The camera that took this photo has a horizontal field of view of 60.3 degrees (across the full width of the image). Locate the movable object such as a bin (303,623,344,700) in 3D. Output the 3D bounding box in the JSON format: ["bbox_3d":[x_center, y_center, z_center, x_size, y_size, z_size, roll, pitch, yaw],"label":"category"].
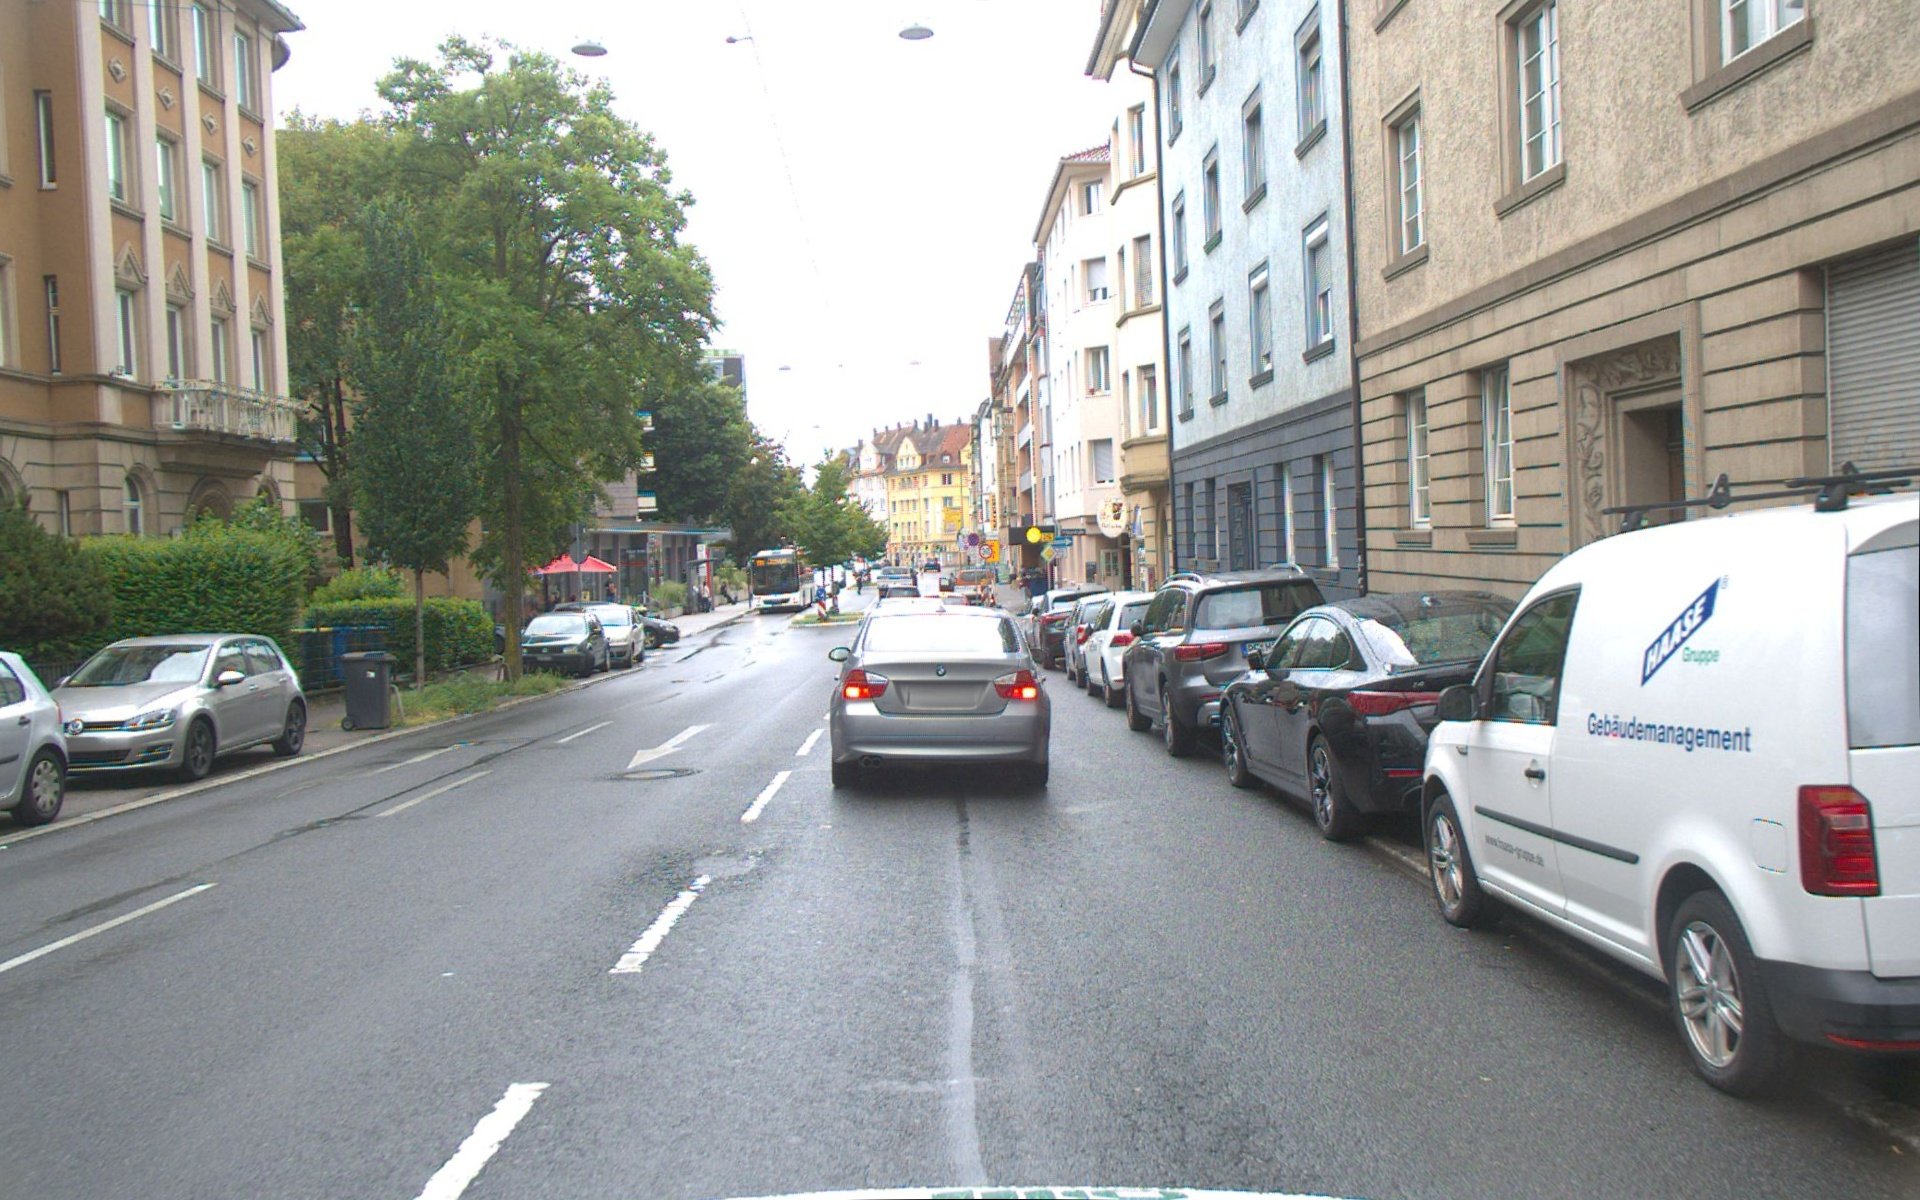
[{"bbox_3d":[-11.284,1.083,29.334,0.430,1.331,0.650,-2,0,-2],"label":"movable object such as a bin"}]

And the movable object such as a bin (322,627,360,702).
[{"bbox_3d":[-11.303,1.168,30.204,0.430,1.331,0.609,-2,0,-2],"label":"movable object such as a bin"}]

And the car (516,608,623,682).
[{"bbox_3d":[-8.753,0.962,37.378,1.621,1.479,3.940,-2,0,-3],"label":"car"}]

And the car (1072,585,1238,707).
[{"bbox_3d":[2.695,0.587,23.684,1.695,1.454,3.972,-5,1,-2],"label":"car"}]

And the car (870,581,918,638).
[{"bbox_3d":[-2.493,0.374,61.985,1.671,2.049,3.997,1,-1,-4],"label":"car"}]

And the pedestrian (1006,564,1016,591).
[{"bbox_3d":[3.284,-1.465,107.112,0.602,1.690,0.755,1,-1,5],"label":"pedestrian"}]

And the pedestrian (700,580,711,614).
[{"bbox_3d":[-13.087,-0.148,85.065,0.532,1.739,0.465,1,-1,-8],"label":"pedestrian"}]

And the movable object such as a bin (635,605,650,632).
[{"bbox_3d":[-12.867,0.747,67.014,0.480,1.100,0.606,-3,-1,-1],"label":"movable object such as a bin"}]

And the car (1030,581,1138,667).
[{"bbox_3d":[2.525,0.459,34.646,1.781,1.584,4.292,-4,0,-1],"label":"car"}]

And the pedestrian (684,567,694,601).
[{"bbox_3d":[-14.512,-0.840,88.536,0.533,1.821,0.507,1,-1,-10],"label":"pedestrian"}]

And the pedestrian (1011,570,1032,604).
[{"bbox_3d":[3.075,-0.627,82.653,0.741,1.690,0.748,1,-1,-28],"label":"pedestrian"}]

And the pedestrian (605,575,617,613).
[{"bbox_3d":[-16.619,-0.286,78.697,0.455,1.821,0.544,1,-1,-2],"label":"pedestrian"}]

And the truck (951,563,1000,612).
[{"bbox_3d":[0.726,-0.578,77.891,2.170,2.154,4.652,2,0,1],"label":"truck"}]

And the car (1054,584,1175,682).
[{"bbox_3d":[2.596,0.517,28.435,1.551,1.454,3.594,-5,1,-2],"label":"car"}]

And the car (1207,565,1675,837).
[{"bbox_3d":[3.113,0.572,11.737,1.804,1.433,4.386,-4,0,-2],"label":"car"}]

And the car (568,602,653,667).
[{"bbox_3d":[-8.762,0.827,41.694,1.600,1.479,3.835,-2,0,-5],"label":"car"}]

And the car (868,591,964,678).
[{"bbox_3d":[-0.832,0.601,29.456,1.570,1.445,3.285,1,-1,-4],"label":"car"}]

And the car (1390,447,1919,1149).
[{"bbox_3d":[3.182,0.461,6.453,1.754,1.849,4.079,-4,0,-2],"label":"car"}]

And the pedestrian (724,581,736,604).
[{"bbox_3d":[-14.010,-0.458,100.859,0.607,1.402,0.544,1,-1,0],"label":"pedestrian"}]

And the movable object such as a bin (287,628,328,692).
[{"bbox_3d":[-11.263,1.030,28.545,0.430,1.057,0.650,-2,0,-2],"label":"movable object such as a bin"}]

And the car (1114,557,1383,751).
[{"bbox_3d":[2.806,0.492,17.037,1.804,1.649,4.206,-3,0,-2],"label":"car"}]

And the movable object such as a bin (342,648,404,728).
[{"bbox_3d":[-8.242,1.230,23.241,0.617,1.076,0.600,-2,-1,-1],"label":"movable object such as a bin"}]

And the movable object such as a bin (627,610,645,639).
[{"bbox_3d":[-12.736,0.962,64.991,0.542,1.100,0.731,-3,-1,-1],"label":"movable object such as a bin"}]

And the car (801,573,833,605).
[{"bbox_3d":[-9.666,-0.735,111.852,1.953,2.049,3.998,1,-1,-2],"label":"car"}]

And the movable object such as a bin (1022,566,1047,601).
[{"bbox_3d":[3.829,-0.839,85.048,1.100,1.732,1.433,-3,-1,-4],"label":"movable object such as a bin"}]

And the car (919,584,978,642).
[{"bbox_3d":[-0.261,0.339,41.606,1.406,1.380,3.762,1,-1,0],"label":"car"}]

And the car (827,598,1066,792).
[{"bbox_3d":[-0.132,0.704,13.583,1.720,1.386,3.163,-1,-1,-1],"label":"car"}]

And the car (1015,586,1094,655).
[{"bbox_3d":[2.248,0.460,40.247,1.537,1.489,4.088,-4,0,-1],"label":"car"}]

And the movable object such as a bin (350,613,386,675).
[{"bbox_3d":[-11.325,0.841,31.636,0.430,1.150,0.657,-2,0,-2],"label":"movable object such as a bin"}]

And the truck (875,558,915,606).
[{"bbox_3d":[-3.661,-0.973,93.306,2.172,2.589,4.777,1,-1,-2],"label":"truck"}]

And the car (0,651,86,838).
[{"bbox_3d":[-8.301,1.165,12.199,1.648,1.414,3.908,-1,0,-1],"label":"car"}]

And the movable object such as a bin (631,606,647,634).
[{"bbox_3d":[-12.813,0.784,66.093,0.480,1.100,0.606,-3,-1,-1],"label":"movable object such as a bin"}]

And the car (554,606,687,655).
[{"bbox_3d":[-10.344,0.920,50.548,3.739,1.414,1.742,-1,-1,-2],"label":"car"}]

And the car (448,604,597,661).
[{"bbox_3d":[-12.567,0.922,47.631,3.737,1.413,1.743,-2,2,1],"label":"car"}]

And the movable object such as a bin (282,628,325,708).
[{"bbox_3d":[-11.214,1.149,28.258,0.430,1.322,0.650,-2,0,-2],"label":"movable object such as a bin"}]

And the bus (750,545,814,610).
[{"bbox_3d":[-9.675,-1.130,91.015,2.627,3.257,11.949,1,-1,-2],"label":"bus"}]

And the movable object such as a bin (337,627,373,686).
[{"bbox_3d":[-11.313,1.058,30.940,0.417,1.059,0.650,-2,0,-2],"label":"movable object such as a bin"}]

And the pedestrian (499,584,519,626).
[{"bbox_3d":[-19.802,0.220,72.617,0.628,1.847,0.630,-2,1,-34],"label":"pedestrian"}]

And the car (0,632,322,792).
[{"bbox_3d":[-8.469,1.113,17.862,1.648,1.414,3.935,-1,0,-1],"label":"car"}]

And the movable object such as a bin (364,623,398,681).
[{"bbox_3d":[-11.294,1.016,32.292,0.430,1.100,0.589,-2,0,-2],"label":"movable object such as a bin"}]
